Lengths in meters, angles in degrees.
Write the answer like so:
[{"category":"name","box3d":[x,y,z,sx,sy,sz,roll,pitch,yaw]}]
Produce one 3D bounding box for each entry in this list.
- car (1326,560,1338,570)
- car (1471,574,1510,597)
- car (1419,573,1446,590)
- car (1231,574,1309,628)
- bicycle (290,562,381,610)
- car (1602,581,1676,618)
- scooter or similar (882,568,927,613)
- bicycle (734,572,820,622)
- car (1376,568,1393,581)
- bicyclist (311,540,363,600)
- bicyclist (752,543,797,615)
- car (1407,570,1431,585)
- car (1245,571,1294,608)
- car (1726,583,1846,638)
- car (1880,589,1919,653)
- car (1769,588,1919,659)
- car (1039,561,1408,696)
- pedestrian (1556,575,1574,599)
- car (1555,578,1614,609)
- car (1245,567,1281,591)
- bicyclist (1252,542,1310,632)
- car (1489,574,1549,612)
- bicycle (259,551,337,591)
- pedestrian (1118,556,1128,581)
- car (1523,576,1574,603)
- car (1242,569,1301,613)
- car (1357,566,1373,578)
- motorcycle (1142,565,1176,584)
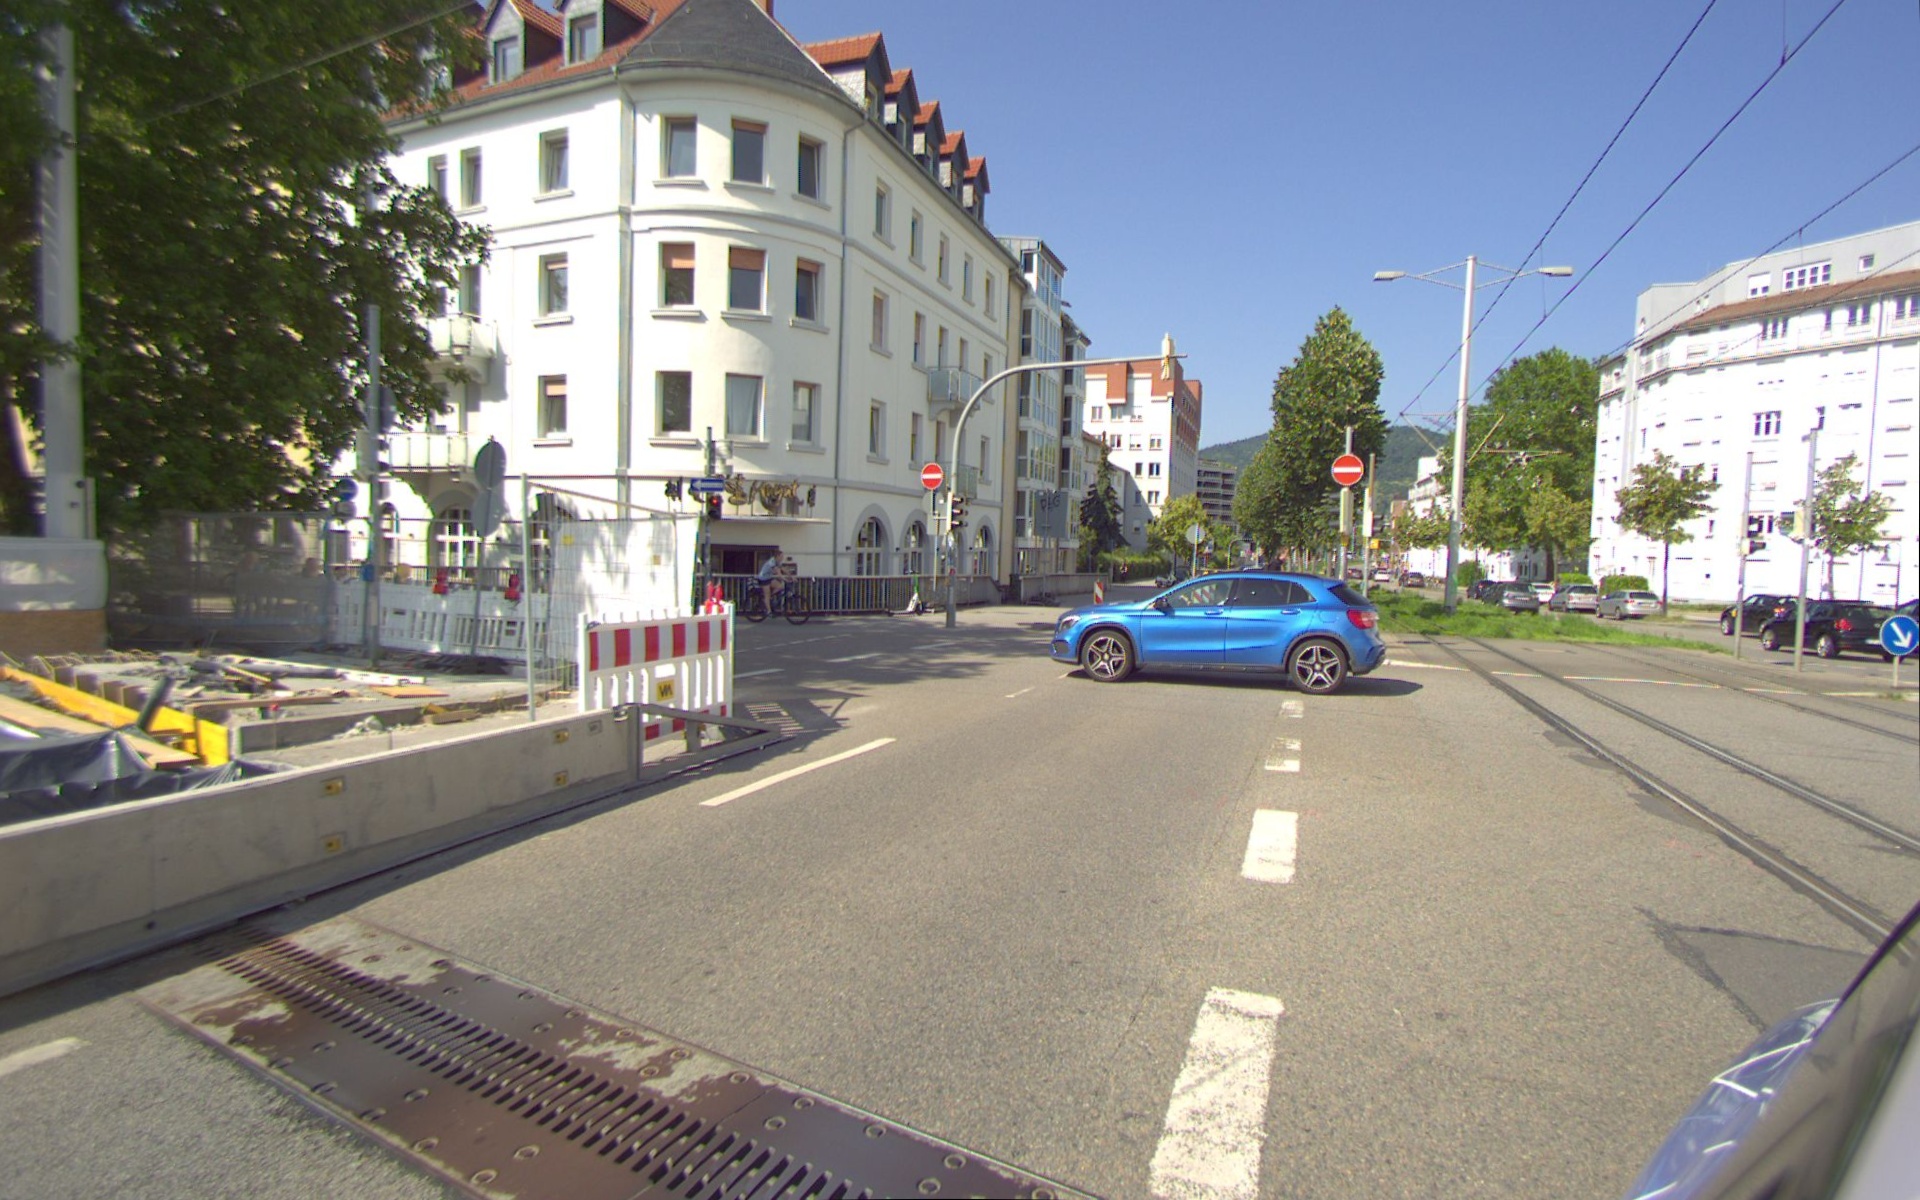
[{"category":"car","box3d":[69.847,-6.594,190.018,1.775,1.703,3.719,2,2,18]},{"category":"car","box3d":[38.902,-1.075,74.271,1.716,1.502,3.722,2,2,16]},{"category":"car","box3d":[45.215,-1.778,96.869,1.716,1.502,3.722,2,2,16]},{"category":"car","box3d":[8.712,-0.033,28.238,1.748,1.337,3.972,2,2,22]},{"category":"bicycle","box3d":[-16.550,-0.397,26.783,2.835,1.150,0.831,3,2,30]},{"category":"car","box3d":[31.412,-0.063,46.898,1.716,1.502,3.722,2,2,16]},{"category":"scooter or similar","box3d":[-1.416,-0.247,25.967,0.337,1.131,1.286,4,3,39]},{"category":"bicycle","box3d":[-4.159,-0.080,22.985,1.791,1.002,0.708,3,4,12]},{"category":"car","box3d":[55.019,-3.334,131.278,1.717,1.502,3.719,2,3,18]},{"category":"bicyclist","box3d":[-16.454,-0.792,26.725,0.945,1.526,0.831,2,2,30]},{"category":"bicyclist","box3d":[-4.202,-0.485,22.972,0.772,1.568,0.708,2,4,12]},{"category":"car","box3d":[47.360,-2.319,104.512,1.716,1.502,3.722,2,2,16]},{"category":"car","box3d":[12.505,-0.470,40.733,1.745,1.371,3.976,2,2,19]},{"category":"car","box3d":[28.385,0.306,34.920,1.715,1.657,3.725,2,2,14]},{"category":"car","box3d":[26.211,0.606,26.393,1.716,1.657,3.722,2,2,16]},{"category":"car","box3d":[22.648,0.542,25.899,1.572,1.511,3.646,4,3,15]},{"category":"car","box3d":[3.452,0.291,13.555,4.495,1.499,1.665,2,1,21]},{"category":"pedestrian","box3d":[43.353,-0.921,72.527,0.849,1.686,0.904,3,2,21]},{"category":"car","box3d":[33.649,-0.373,54.642,1.716,1.502,3.722,2,2,16]},{"category":"car","box3d":[18.158,-1.285,60.789,1.741,1.371,3.985,2,2,13]},{"category":"bicyclist","box3d":[6.125,-0.250,19.279,0.997,1.675,0.803,1,0,22]},{"category":"car","box3d":[25.998,-0.352,47.175,1.674,1.575,3.636,3,3,17]},{"category":"bicycle","box3d":[-20.372,-0.911,31.129,2.835,1.150,0.831,3,2,30]},{"category":"pedestrian","box3d":[12.184,-2.361,75.567,0.590,1.784,0.749,2,2,15]},{"category":"car","box3d":[35.759,-0.679,61.567,1.716,1.502,3.722,2,2,16]},{"category":"car","box3d":[10.785,-0.353,34.927,1.746,1.371,3.975,2,2,20]},{"category":"car","box3d":[56.323,-3.934,140.878,1.775,1.502,3.719,2,3,18]},{"category":"motorcycle","box3d":[13.631,-1.760,69.433,2.155,1.180,0.738,3,2,23]}]
